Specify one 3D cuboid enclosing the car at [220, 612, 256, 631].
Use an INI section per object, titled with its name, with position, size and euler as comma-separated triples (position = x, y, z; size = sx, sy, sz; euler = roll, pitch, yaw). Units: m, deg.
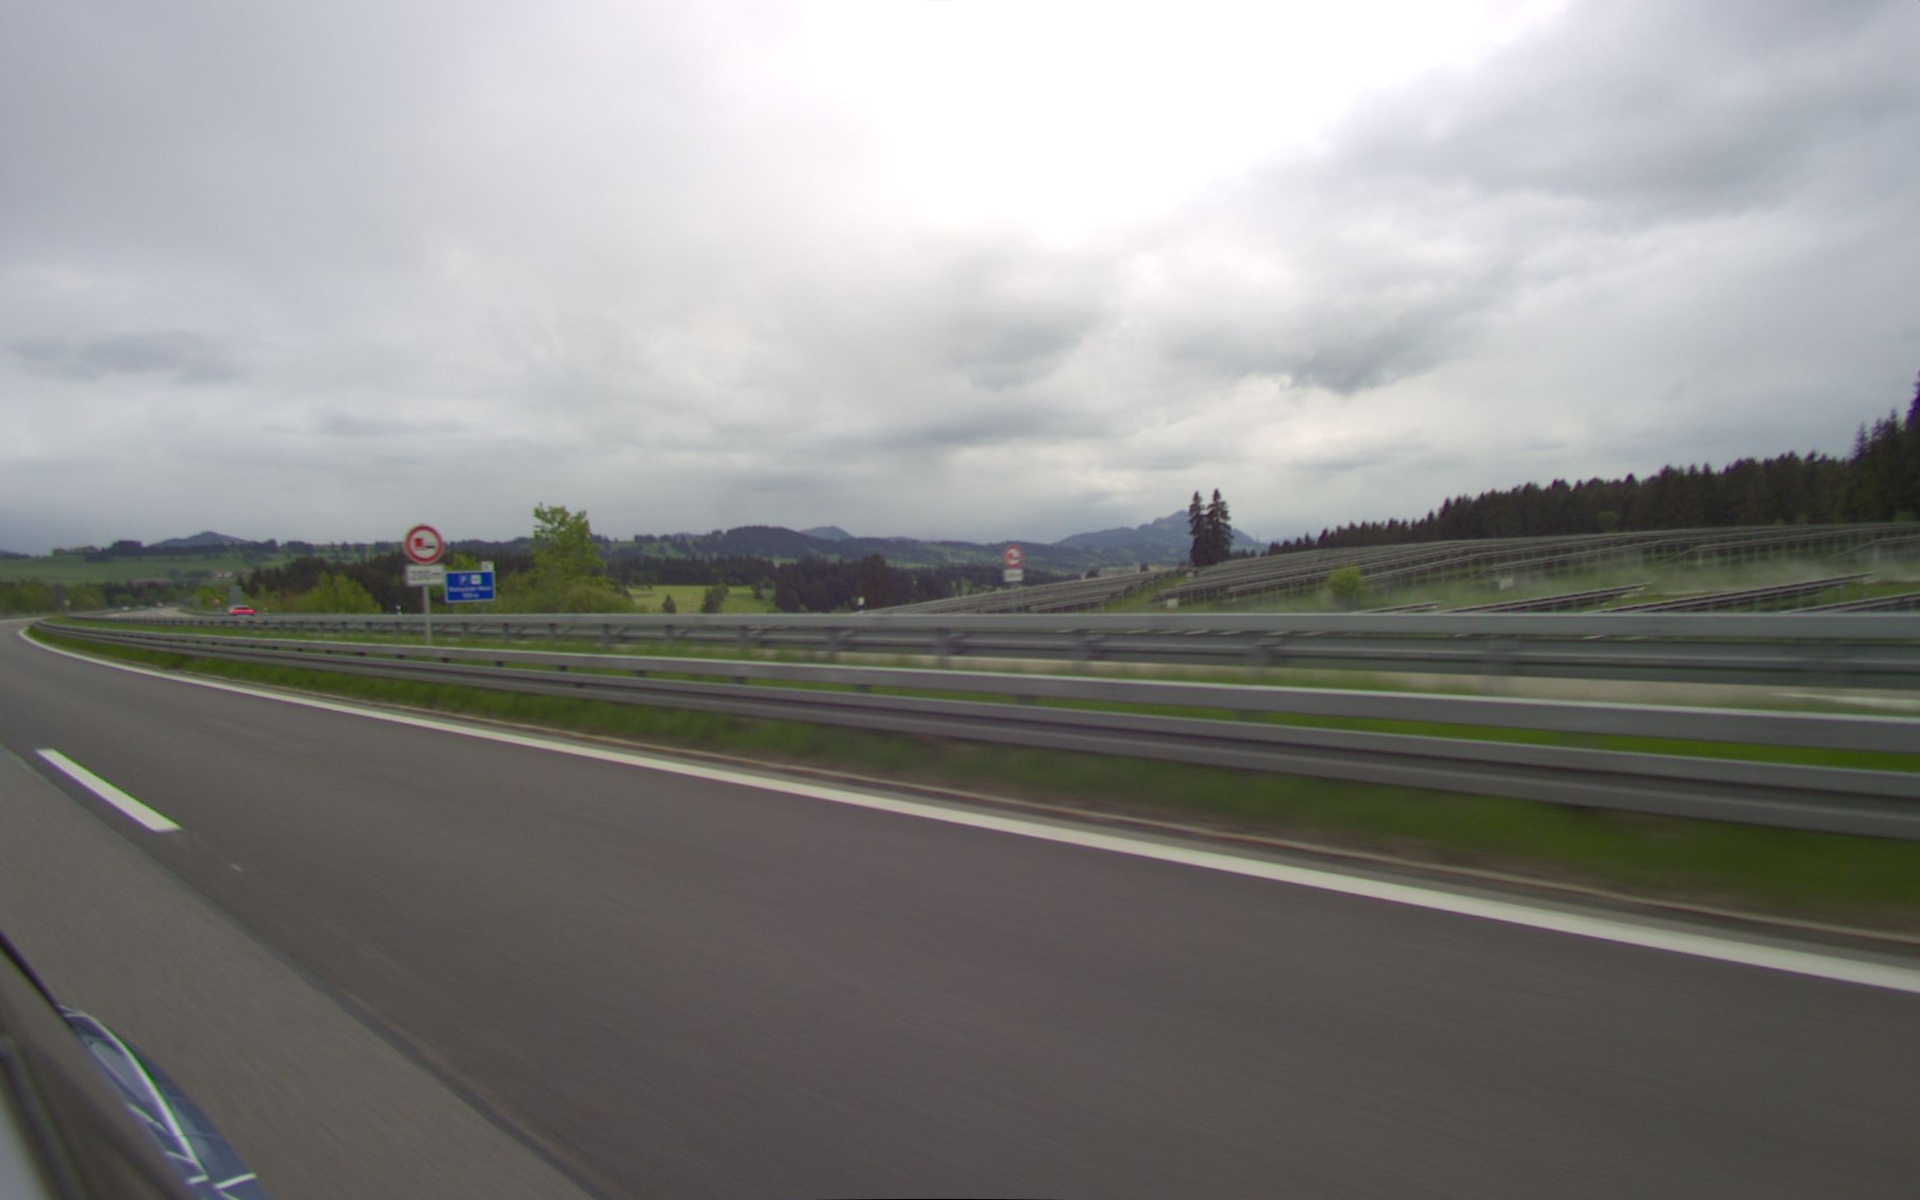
[car]
position = -64.080, 1.909, 89.793
size = 1.970, 1.509, 4.154
euler = -5, 2, -43
